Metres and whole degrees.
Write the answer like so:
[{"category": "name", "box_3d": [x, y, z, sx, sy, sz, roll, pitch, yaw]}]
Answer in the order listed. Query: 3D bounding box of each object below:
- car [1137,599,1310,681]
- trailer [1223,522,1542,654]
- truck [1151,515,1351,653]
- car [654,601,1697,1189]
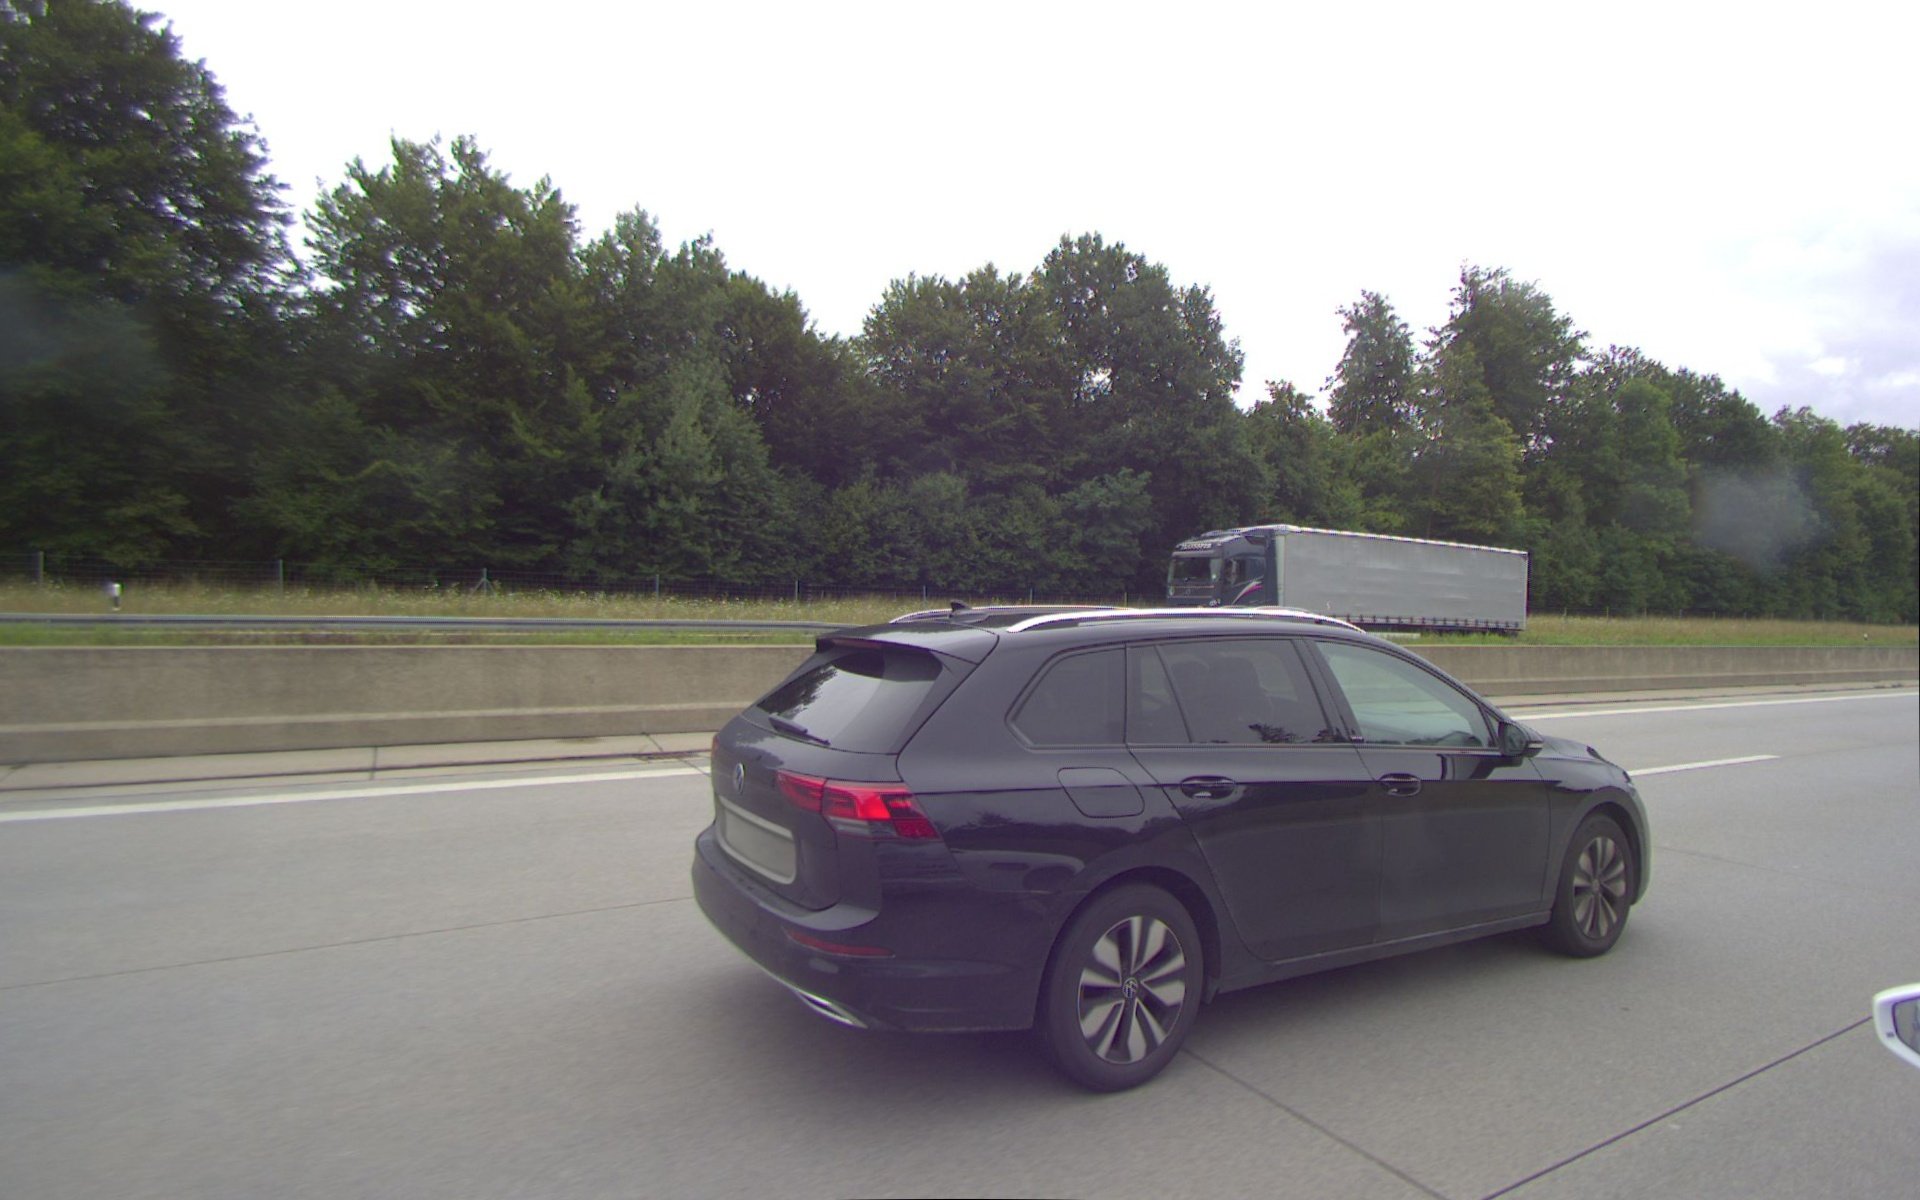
[{"category": "car", "box_3d": [5.850, 0.871, 22.250, 3.553, 1.654, 1.680, 2, 0, -31]}, {"category": "trailer", "box_3d": [15.513, -0.201, 36.004, 13.824, 4.073, 2.797, 2, 0, -31]}, {"category": "truck", "box_3d": [9.421, -0.426, 32.393, 6.012, 4.081, 2.790, 1, 0, -30]}, {"category": "car", "box_3d": [1.136, 0.771, 4.361, 4.432, 1.417, 1.743, 1, 0, -31]}]
